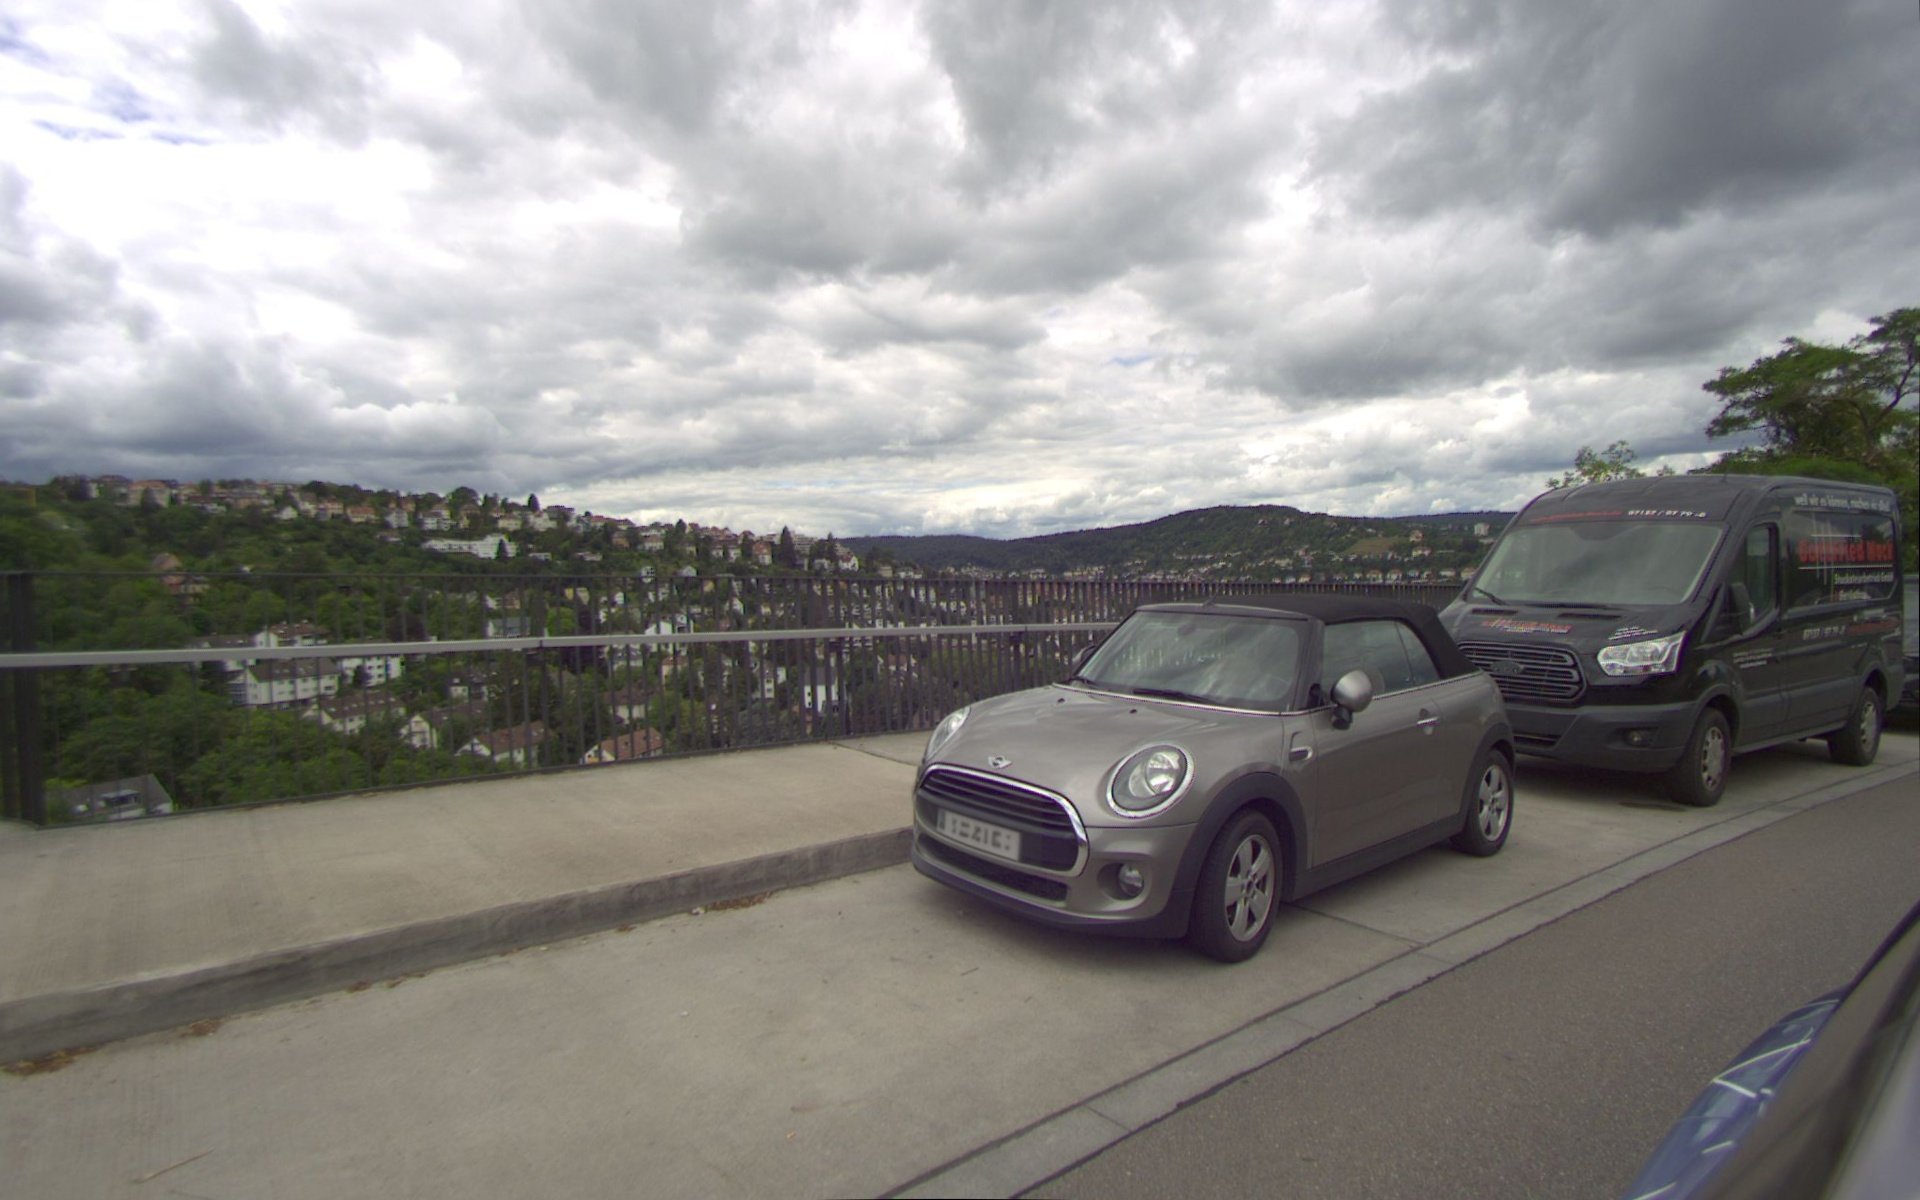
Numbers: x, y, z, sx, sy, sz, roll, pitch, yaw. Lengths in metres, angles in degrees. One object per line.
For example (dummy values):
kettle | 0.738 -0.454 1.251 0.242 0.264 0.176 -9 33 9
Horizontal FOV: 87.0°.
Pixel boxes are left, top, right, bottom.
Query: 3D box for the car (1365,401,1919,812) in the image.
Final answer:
car | 6.250 -0.035 8.745 5.659 2.552 2.176 0 4 -33

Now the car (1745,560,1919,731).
car | 11.823 0.411 12.196 4.949 1.739 2.003 -1 4 -30

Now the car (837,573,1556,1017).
car | 1.422 0.610 5.224 3.783 1.449 1.717 -1 2 -41
